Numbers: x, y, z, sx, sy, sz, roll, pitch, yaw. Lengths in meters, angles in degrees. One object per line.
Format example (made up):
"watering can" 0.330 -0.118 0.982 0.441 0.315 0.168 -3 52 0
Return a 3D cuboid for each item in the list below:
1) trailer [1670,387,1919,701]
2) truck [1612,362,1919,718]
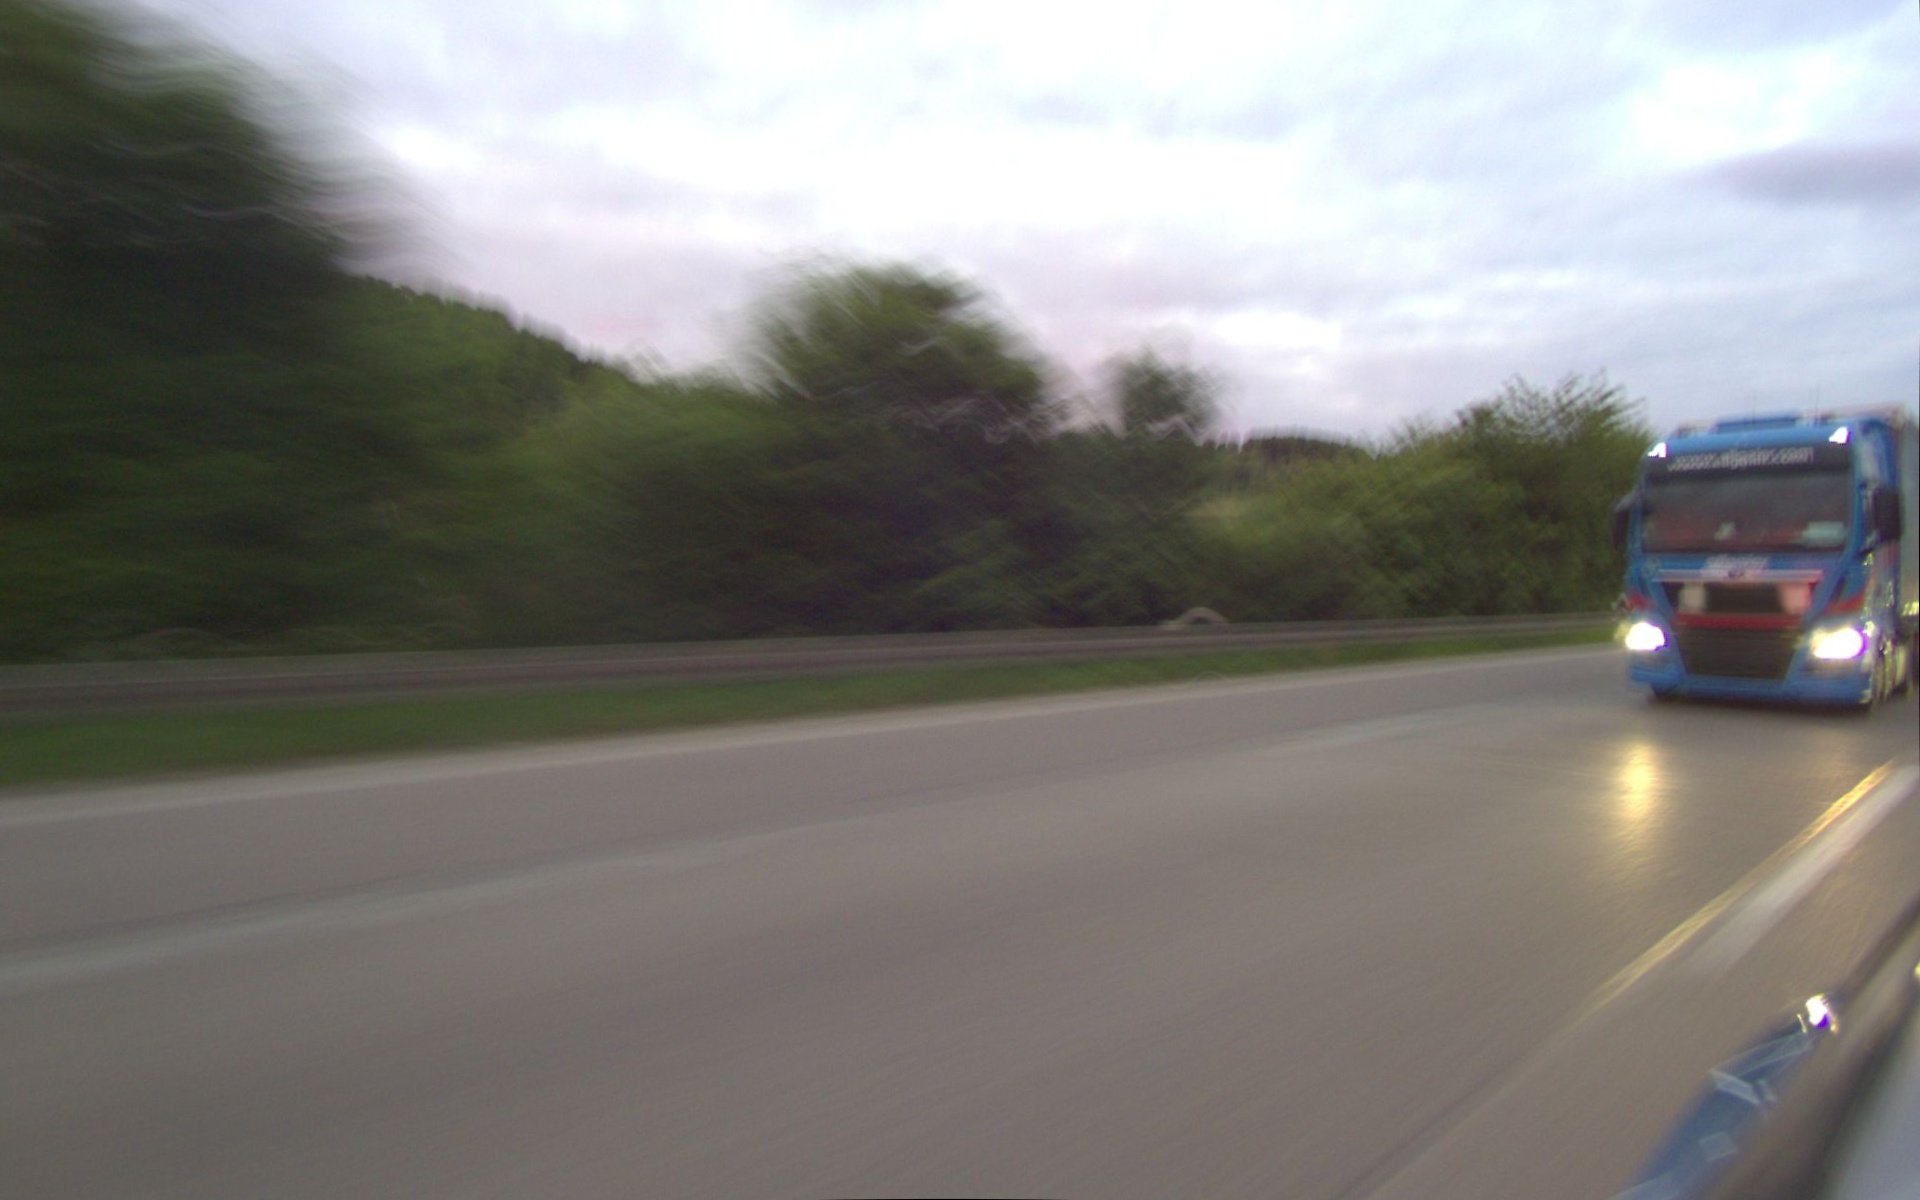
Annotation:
"trailer" 16.833 -0.805 18.826 13.499 4.137 2.777 0 1 -41
"truck" 11.819 -0.717 14.427 5.747 4.046 2.741 0 1 -41
